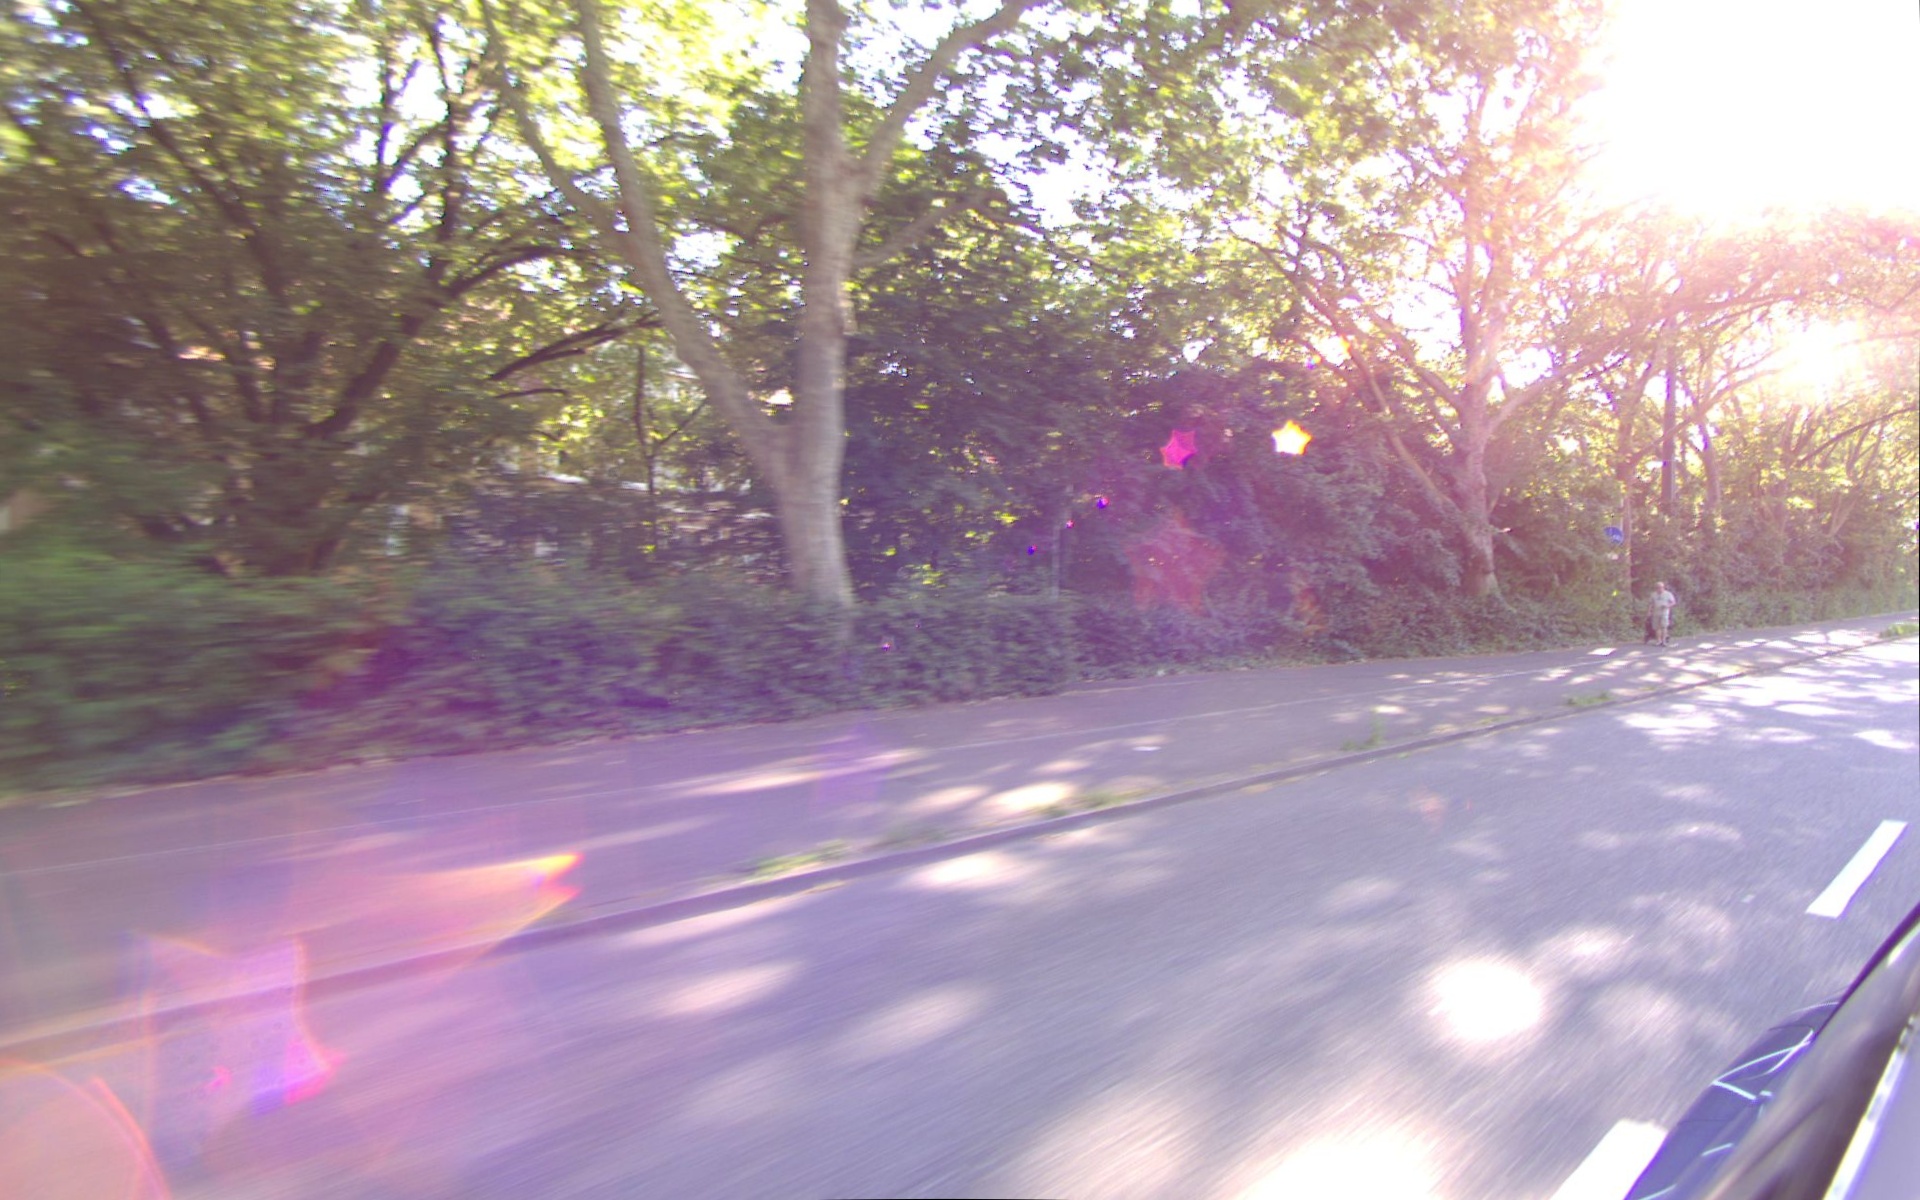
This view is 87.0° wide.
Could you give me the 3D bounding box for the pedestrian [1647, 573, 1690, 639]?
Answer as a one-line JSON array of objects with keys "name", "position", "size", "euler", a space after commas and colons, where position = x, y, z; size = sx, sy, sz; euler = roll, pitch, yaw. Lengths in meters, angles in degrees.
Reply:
[{"name": "pedestrian", "position": [18.489, 0.150, 26.419], "size": [0.911, 1.655, 0.649], "euler": [0, 3, -41]}]
